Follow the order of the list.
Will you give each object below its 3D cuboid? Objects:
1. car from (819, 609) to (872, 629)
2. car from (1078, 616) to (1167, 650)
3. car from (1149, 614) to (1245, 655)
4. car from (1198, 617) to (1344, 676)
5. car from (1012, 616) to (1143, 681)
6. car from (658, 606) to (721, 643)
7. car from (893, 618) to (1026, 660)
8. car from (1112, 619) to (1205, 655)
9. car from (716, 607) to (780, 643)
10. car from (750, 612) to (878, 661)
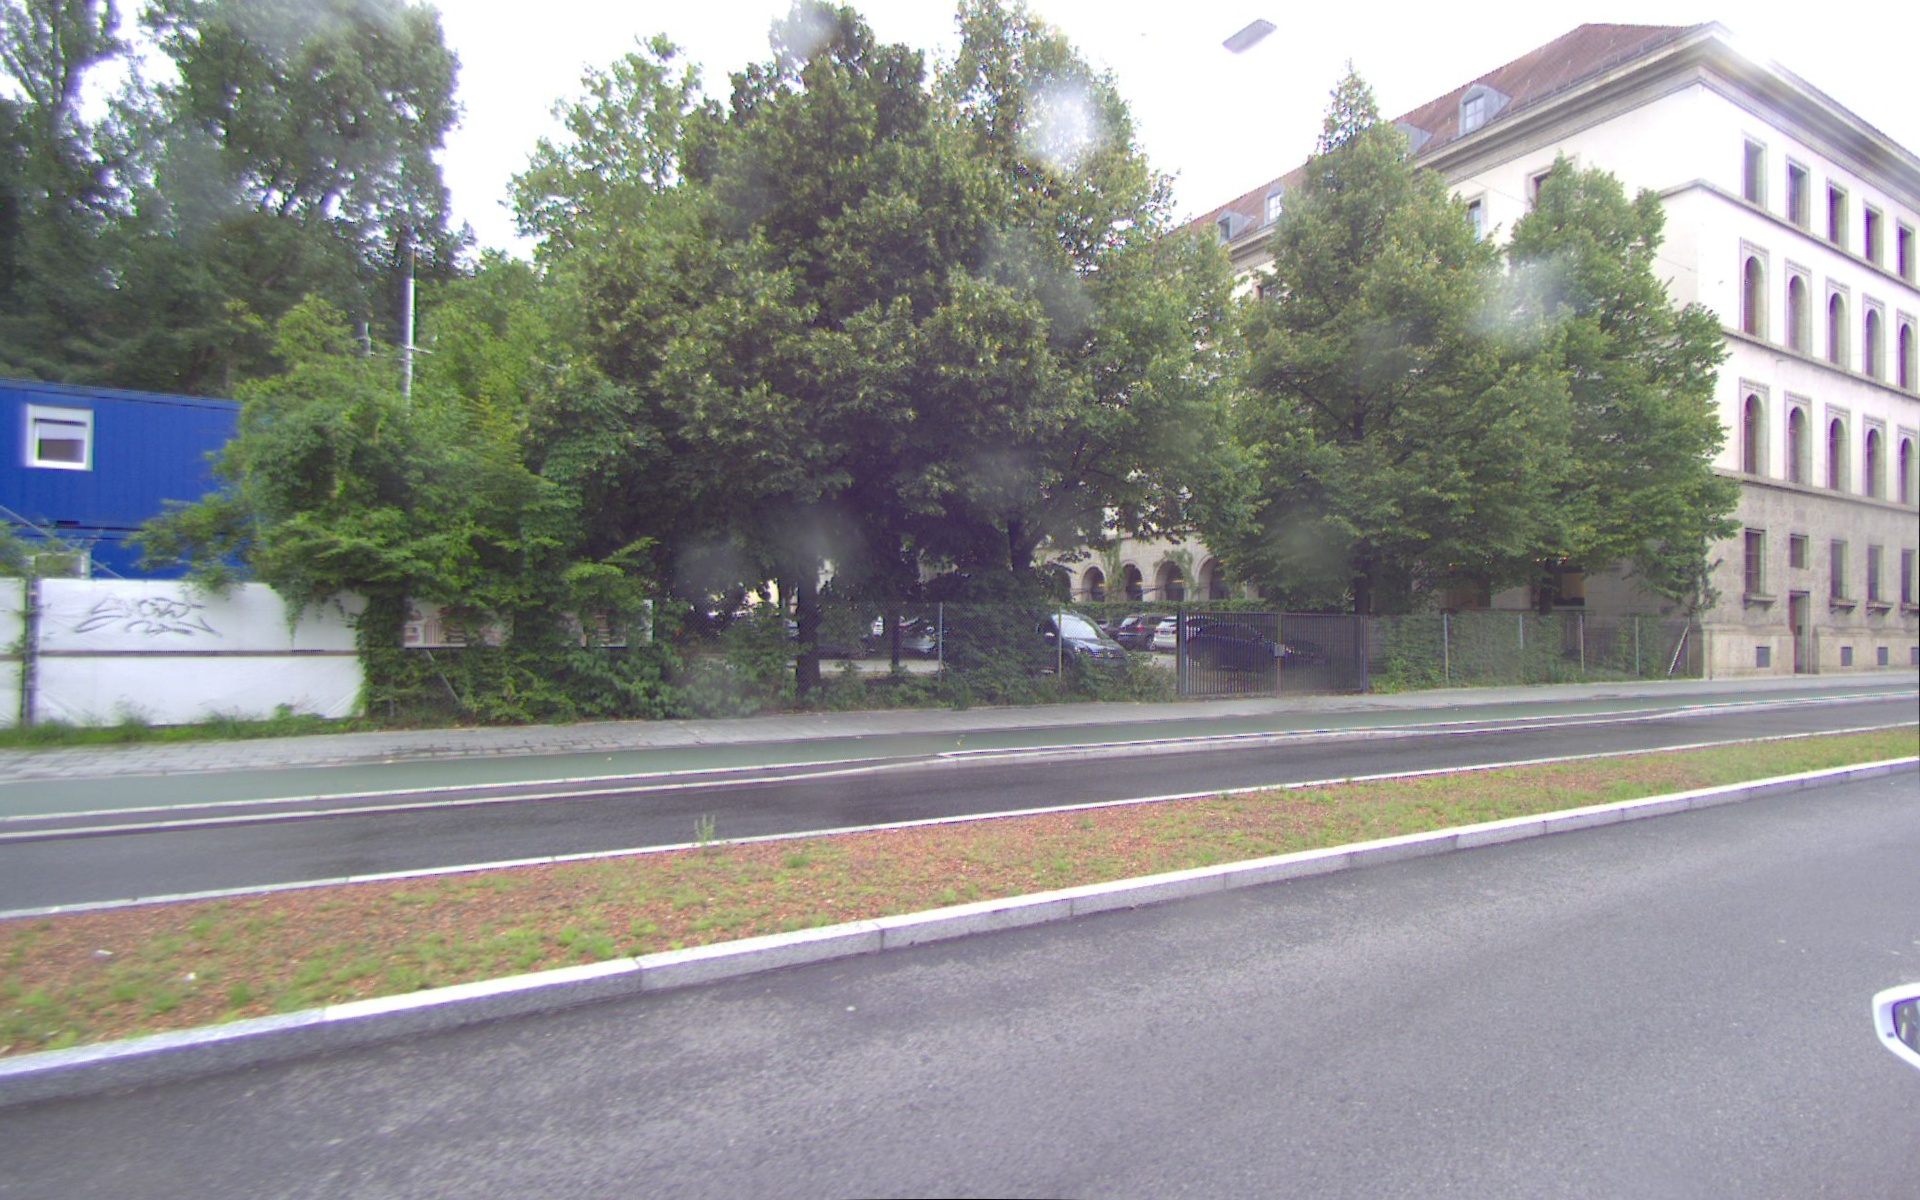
[{"bbox_3d":[-9.325,1.531,81.759,3.954,1.564,1.762,1,-1,-31],"label":"car"},{"bbox_3d":[7.630,1.539,47.149,3.954,1.564,1.762,1,-1,-31],"label":"car"},{"bbox_3d":[10.123,1.466,42.783,3.953,1.662,1.657,1,-1,-30],"label":"car"},{"bbox_3d":[9.421,1.366,30.764,1.783,1.671,4.243,1,-2,-29],"label":"car"},{"bbox_3d":[3.100,1.274,27.432,1.779,1.610,4.137,1,-2,-23],"label":"car"},{"bbox_3d":[-13.500,1.202,49.974,1.978,1.742,3.965,1,-1,-32],"label":"car"},{"bbox_3d":[-0.009,1.414,37.112,4.579,1.460,1.984,1,-1,-31],"label":"car"},{"bbox_3d":[8.916,1.634,45.045,3.954,1.564,1.762,1,-1,-31],"label":"car"},{"bbox_3d":[-10.952,1.287,51.642,1.978,1.742,3.965,1,-1,-32],"label":"car"},{"bbox_3d":[-4.939,1.237,34.098,3.956,1.564,1.761,1,-1,-32],"label":"car"}]
